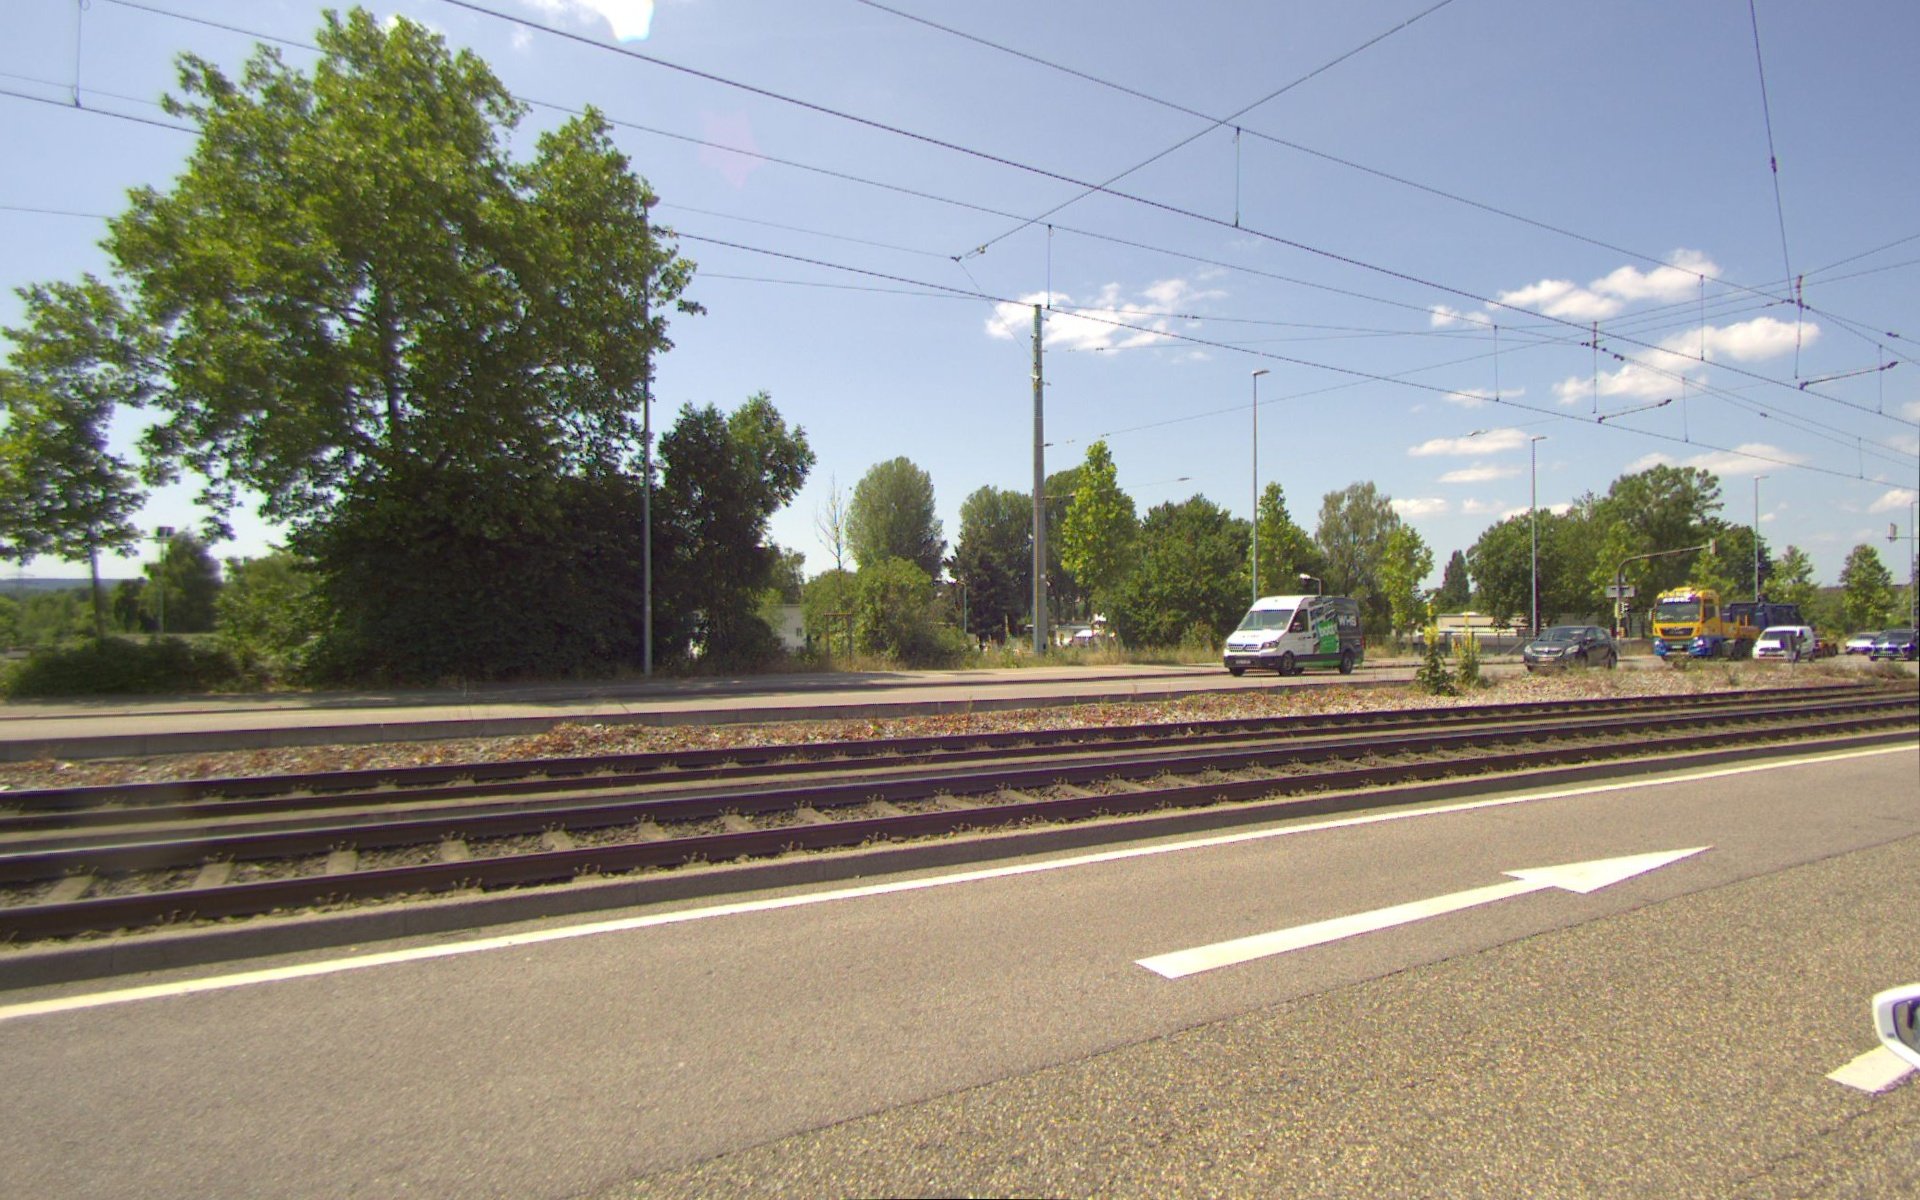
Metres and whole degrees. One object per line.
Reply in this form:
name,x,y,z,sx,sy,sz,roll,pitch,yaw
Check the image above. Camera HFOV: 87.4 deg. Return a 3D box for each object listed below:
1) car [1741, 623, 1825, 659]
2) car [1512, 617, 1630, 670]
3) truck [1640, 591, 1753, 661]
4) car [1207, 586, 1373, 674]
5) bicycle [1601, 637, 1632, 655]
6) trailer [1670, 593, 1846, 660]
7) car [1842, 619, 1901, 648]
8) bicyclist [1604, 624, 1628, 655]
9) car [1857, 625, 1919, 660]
car,41.901,2.073,51.114,4.407,1.693,1.814,1,1,-29
car,21.475,1.487,35.249,4.414,1.693,1.811,1,1,-33
truck,40.426,1.416,55.099,6.365,3.616,2.753,1,0,-31
car,10.917,0.990,32.923,6.184,2.623,2.225,1,-3,-40
bicycle,38.213,2.681,58.475,0.481,1.000,1.482,1,0,-33
trailer,47.313,1.560,59.245,15.694,3.565,2.753,1,0,-31
car,60.769,2.201,66.983,3.953,1.842,1.793,1,0,-30
bicyclist,38.180,2.286,58.498,0.337,1.798,1.111,1,0,-34
car,49.635,2.232,53.112,4.405,1.693,1.815,1,1,-28
